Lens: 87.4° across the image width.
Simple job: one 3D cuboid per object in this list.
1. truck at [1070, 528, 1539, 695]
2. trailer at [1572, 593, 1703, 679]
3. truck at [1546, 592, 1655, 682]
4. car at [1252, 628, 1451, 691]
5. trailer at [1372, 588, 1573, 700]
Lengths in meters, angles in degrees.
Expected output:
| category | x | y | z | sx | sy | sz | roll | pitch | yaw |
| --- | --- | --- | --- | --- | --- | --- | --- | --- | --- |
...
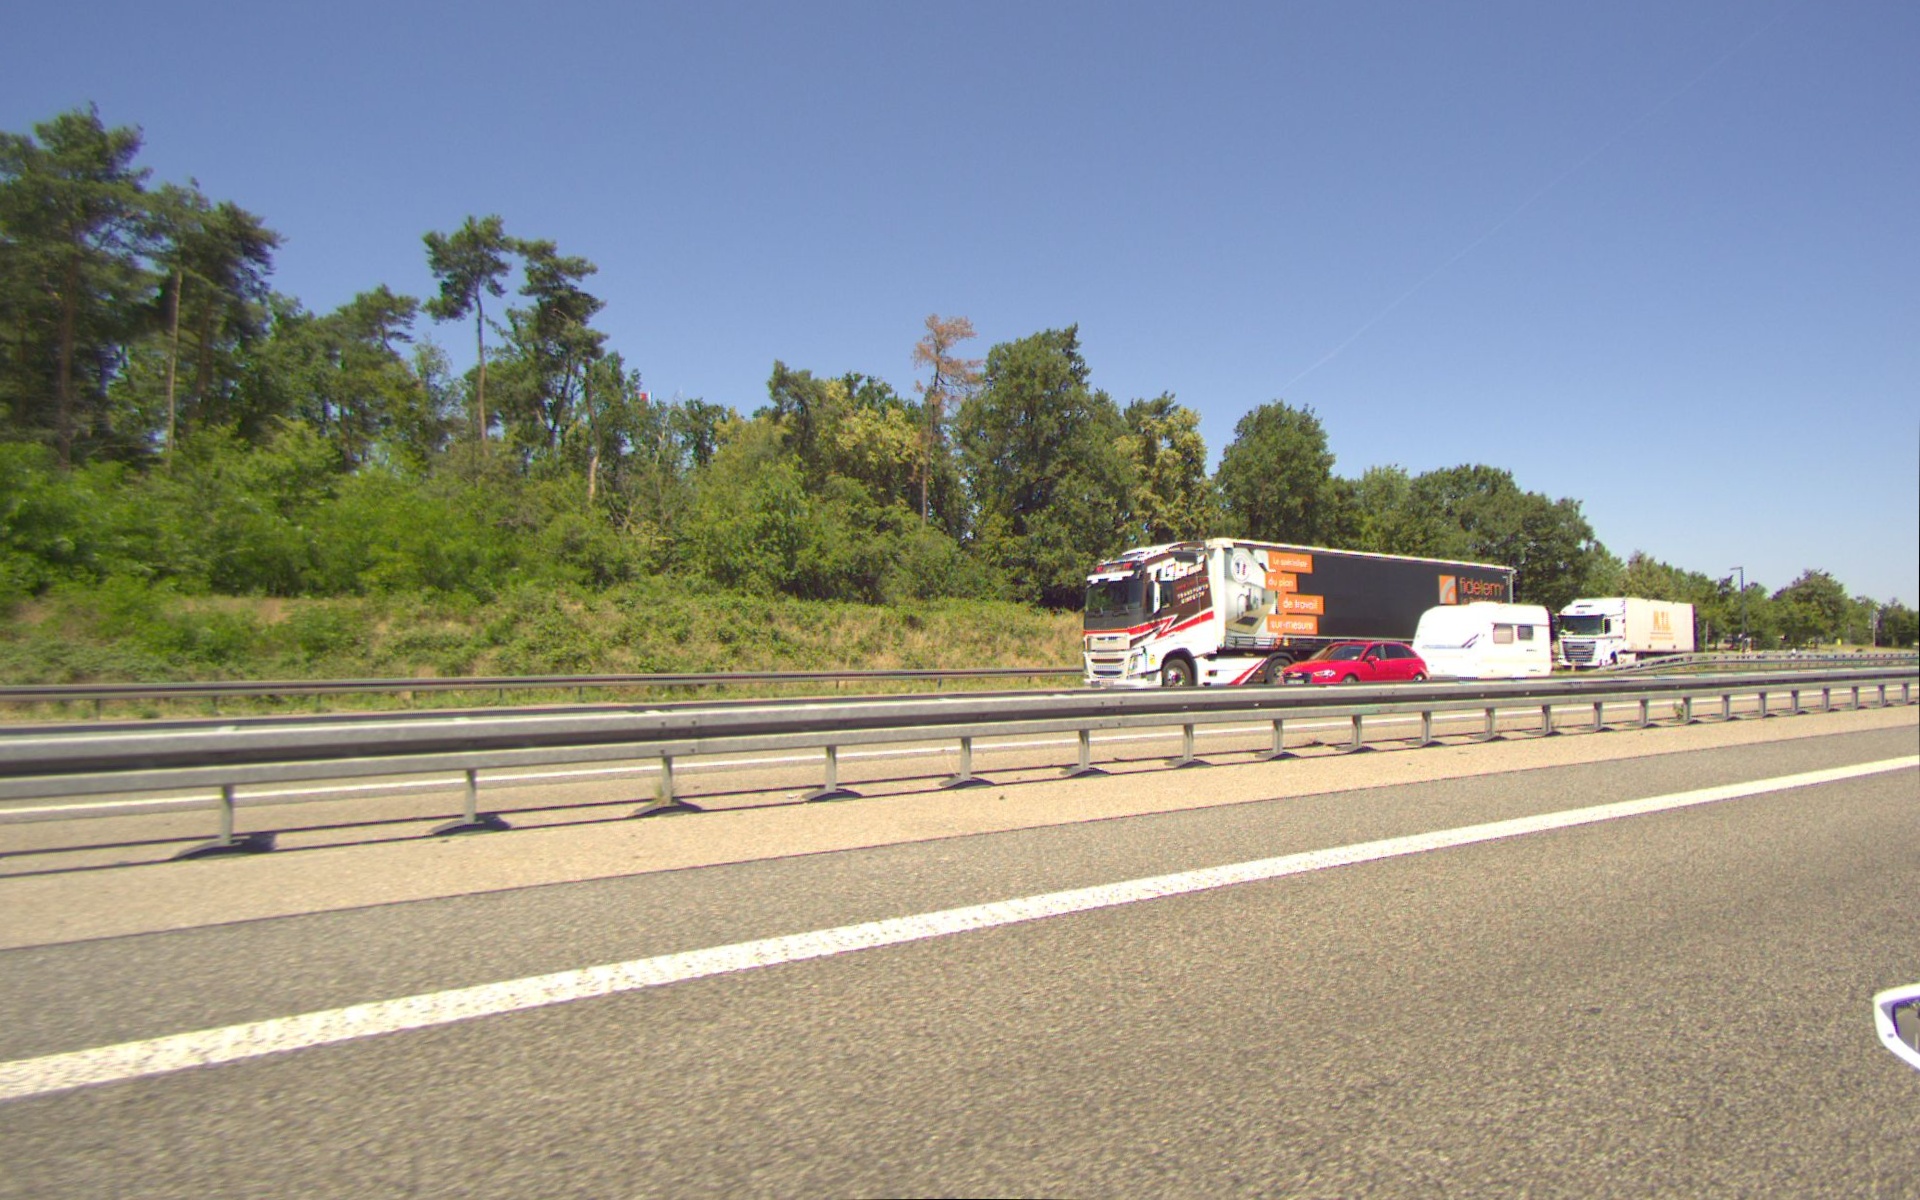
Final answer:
| category | x | y | z | sx | sy | sz | roll | pitch | yaw |
| --- | --- | --- | --- | --- | --- | --- | --- | --- | --- |
| truck | 10.936 | 0.498 | 30.010 | 16.672 | 4.048 | 3.310 | 1 | -2 | -31 |
| trailer | 42.741 | 2.292 | 63.090 | 13.654 | 4.890 | 3.046 | 1 | -4 | -41 |
| truck | 37.374 | 2.167 | 58.494 | 7.653 | 4.890 | 3.046 | 1 | -4 | -40 |
| car | 9.672 | 1.440 | 24.756 | 4.638 | 1.398 | 2.217 | 1 | -4 | -31 |
| trailer | 13.892 | 1.188 | 27.202 | 5.015 | 2.783 | 2.466 | 1 | -4 | -31 |
